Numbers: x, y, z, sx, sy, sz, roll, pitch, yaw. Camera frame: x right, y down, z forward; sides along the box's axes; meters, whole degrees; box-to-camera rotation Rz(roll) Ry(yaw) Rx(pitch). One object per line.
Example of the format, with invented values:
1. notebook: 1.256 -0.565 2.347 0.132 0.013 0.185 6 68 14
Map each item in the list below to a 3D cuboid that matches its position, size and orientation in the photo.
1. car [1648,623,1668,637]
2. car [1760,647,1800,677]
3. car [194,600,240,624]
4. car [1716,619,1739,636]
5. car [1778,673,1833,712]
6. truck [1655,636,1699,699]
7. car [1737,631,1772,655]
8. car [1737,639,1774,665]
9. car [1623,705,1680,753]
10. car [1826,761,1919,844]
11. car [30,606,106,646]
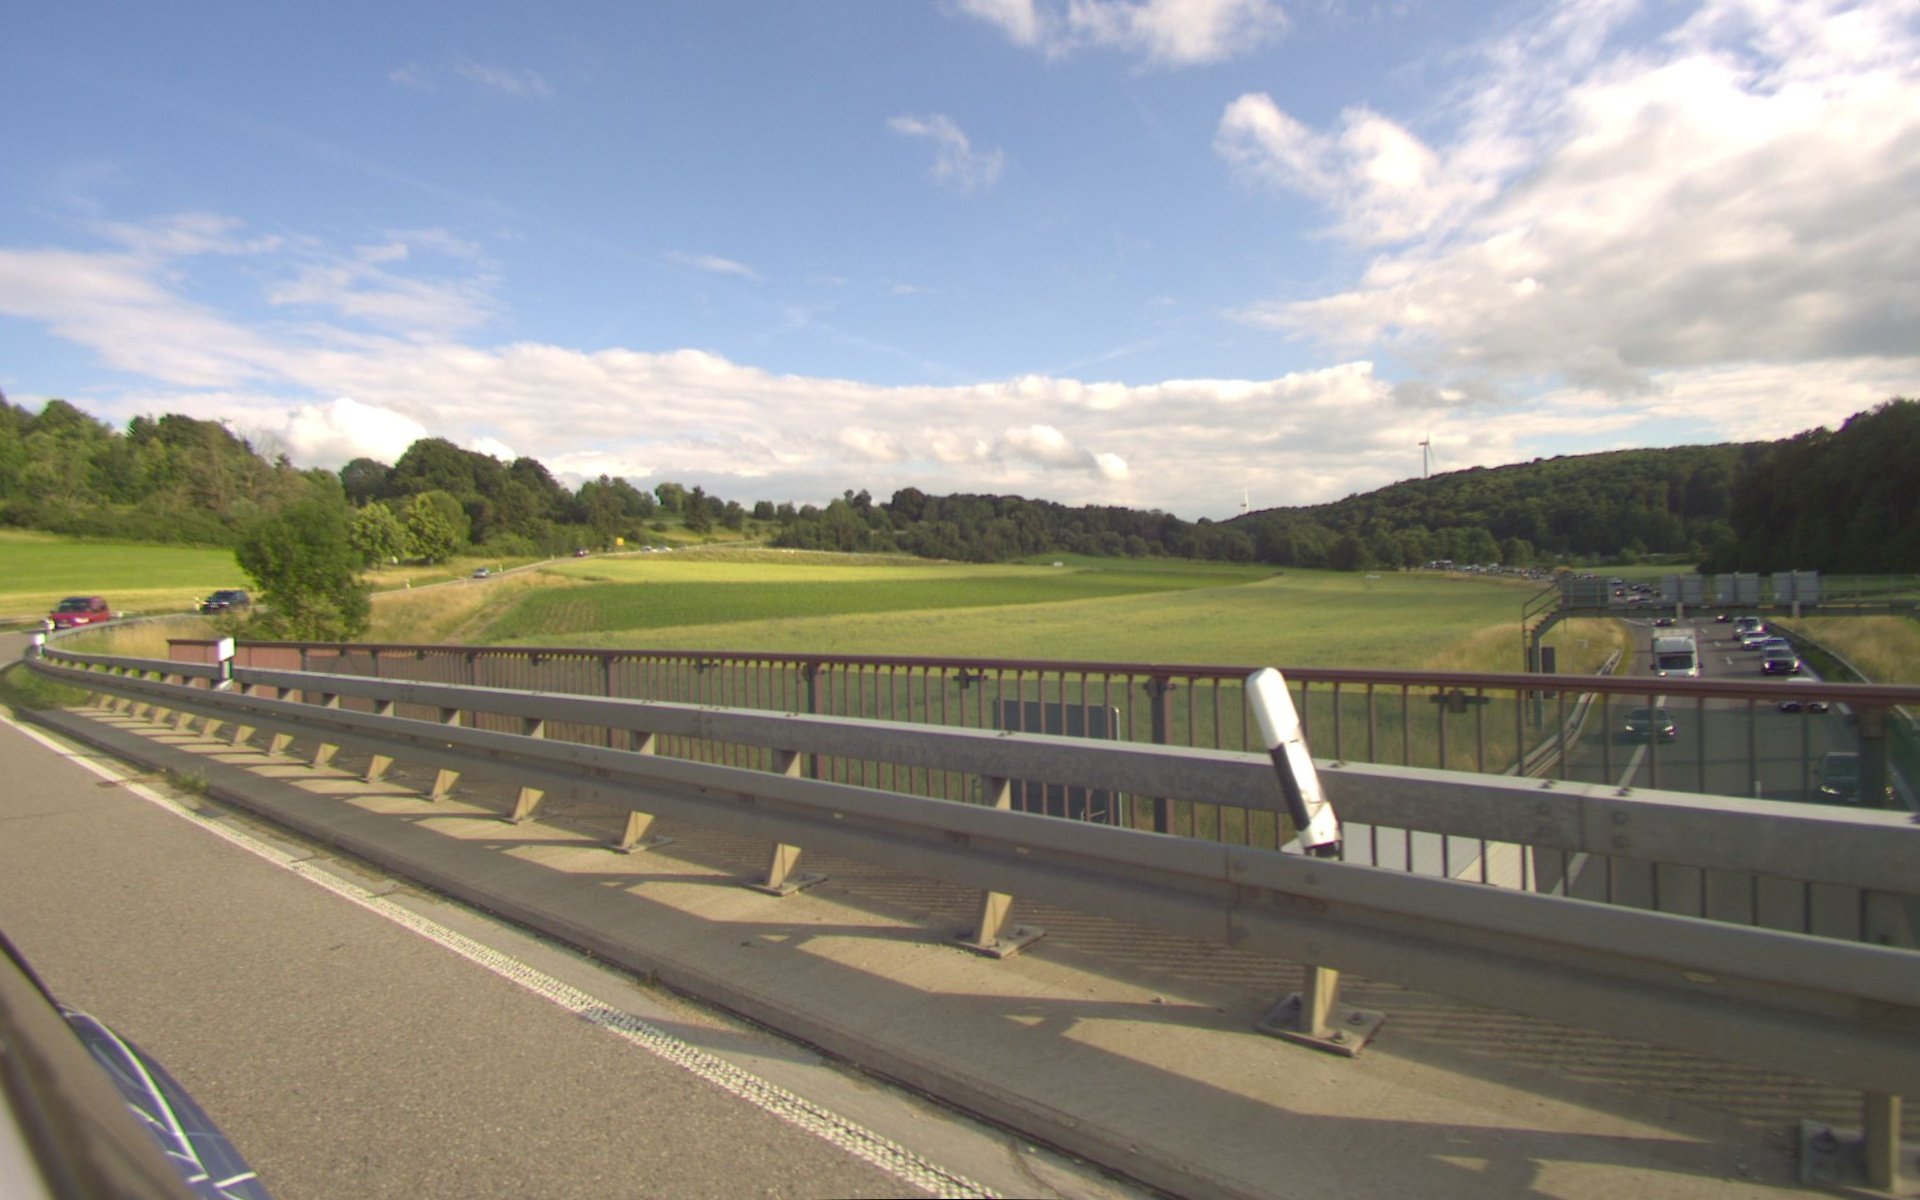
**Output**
1. car: 80.914 3.492 117.347 1.824 1.453 3.953 -1 1 35
2. car: 53.232 3.992 65.730 1.825 1.662 3.951 -1 1 37
3. car: -53.563 0.861 73.034 1.790 1.623 4.014 0 1 -23
4. car: 86.164 3.076 113.613 1.798 1.599 3.954 0 2 34
5. car: 41.837 4.541 50.127 1.825 1.662 3.950 -1 -2 37
6. truck: 45.915 4.209 64.830 2.119 3.431 8.394 -1 0 35
7. car: 69.364 3.748 88.415 1.995 1.740 3.954 4 4 34
8. car: 64.729 4.202 82.428 1.995 1.740 3.954 4 4 34
9. car: 31.204 5.781 45.604 1.986 1.727 3.951 -1 -2 36
10. car: 27.372 6.002 30.433 1.822 1.546 3.949 0 1 38
11. car: -44.617 1.270 50.717 1.791 1.667 4.014 -3 3 -26
